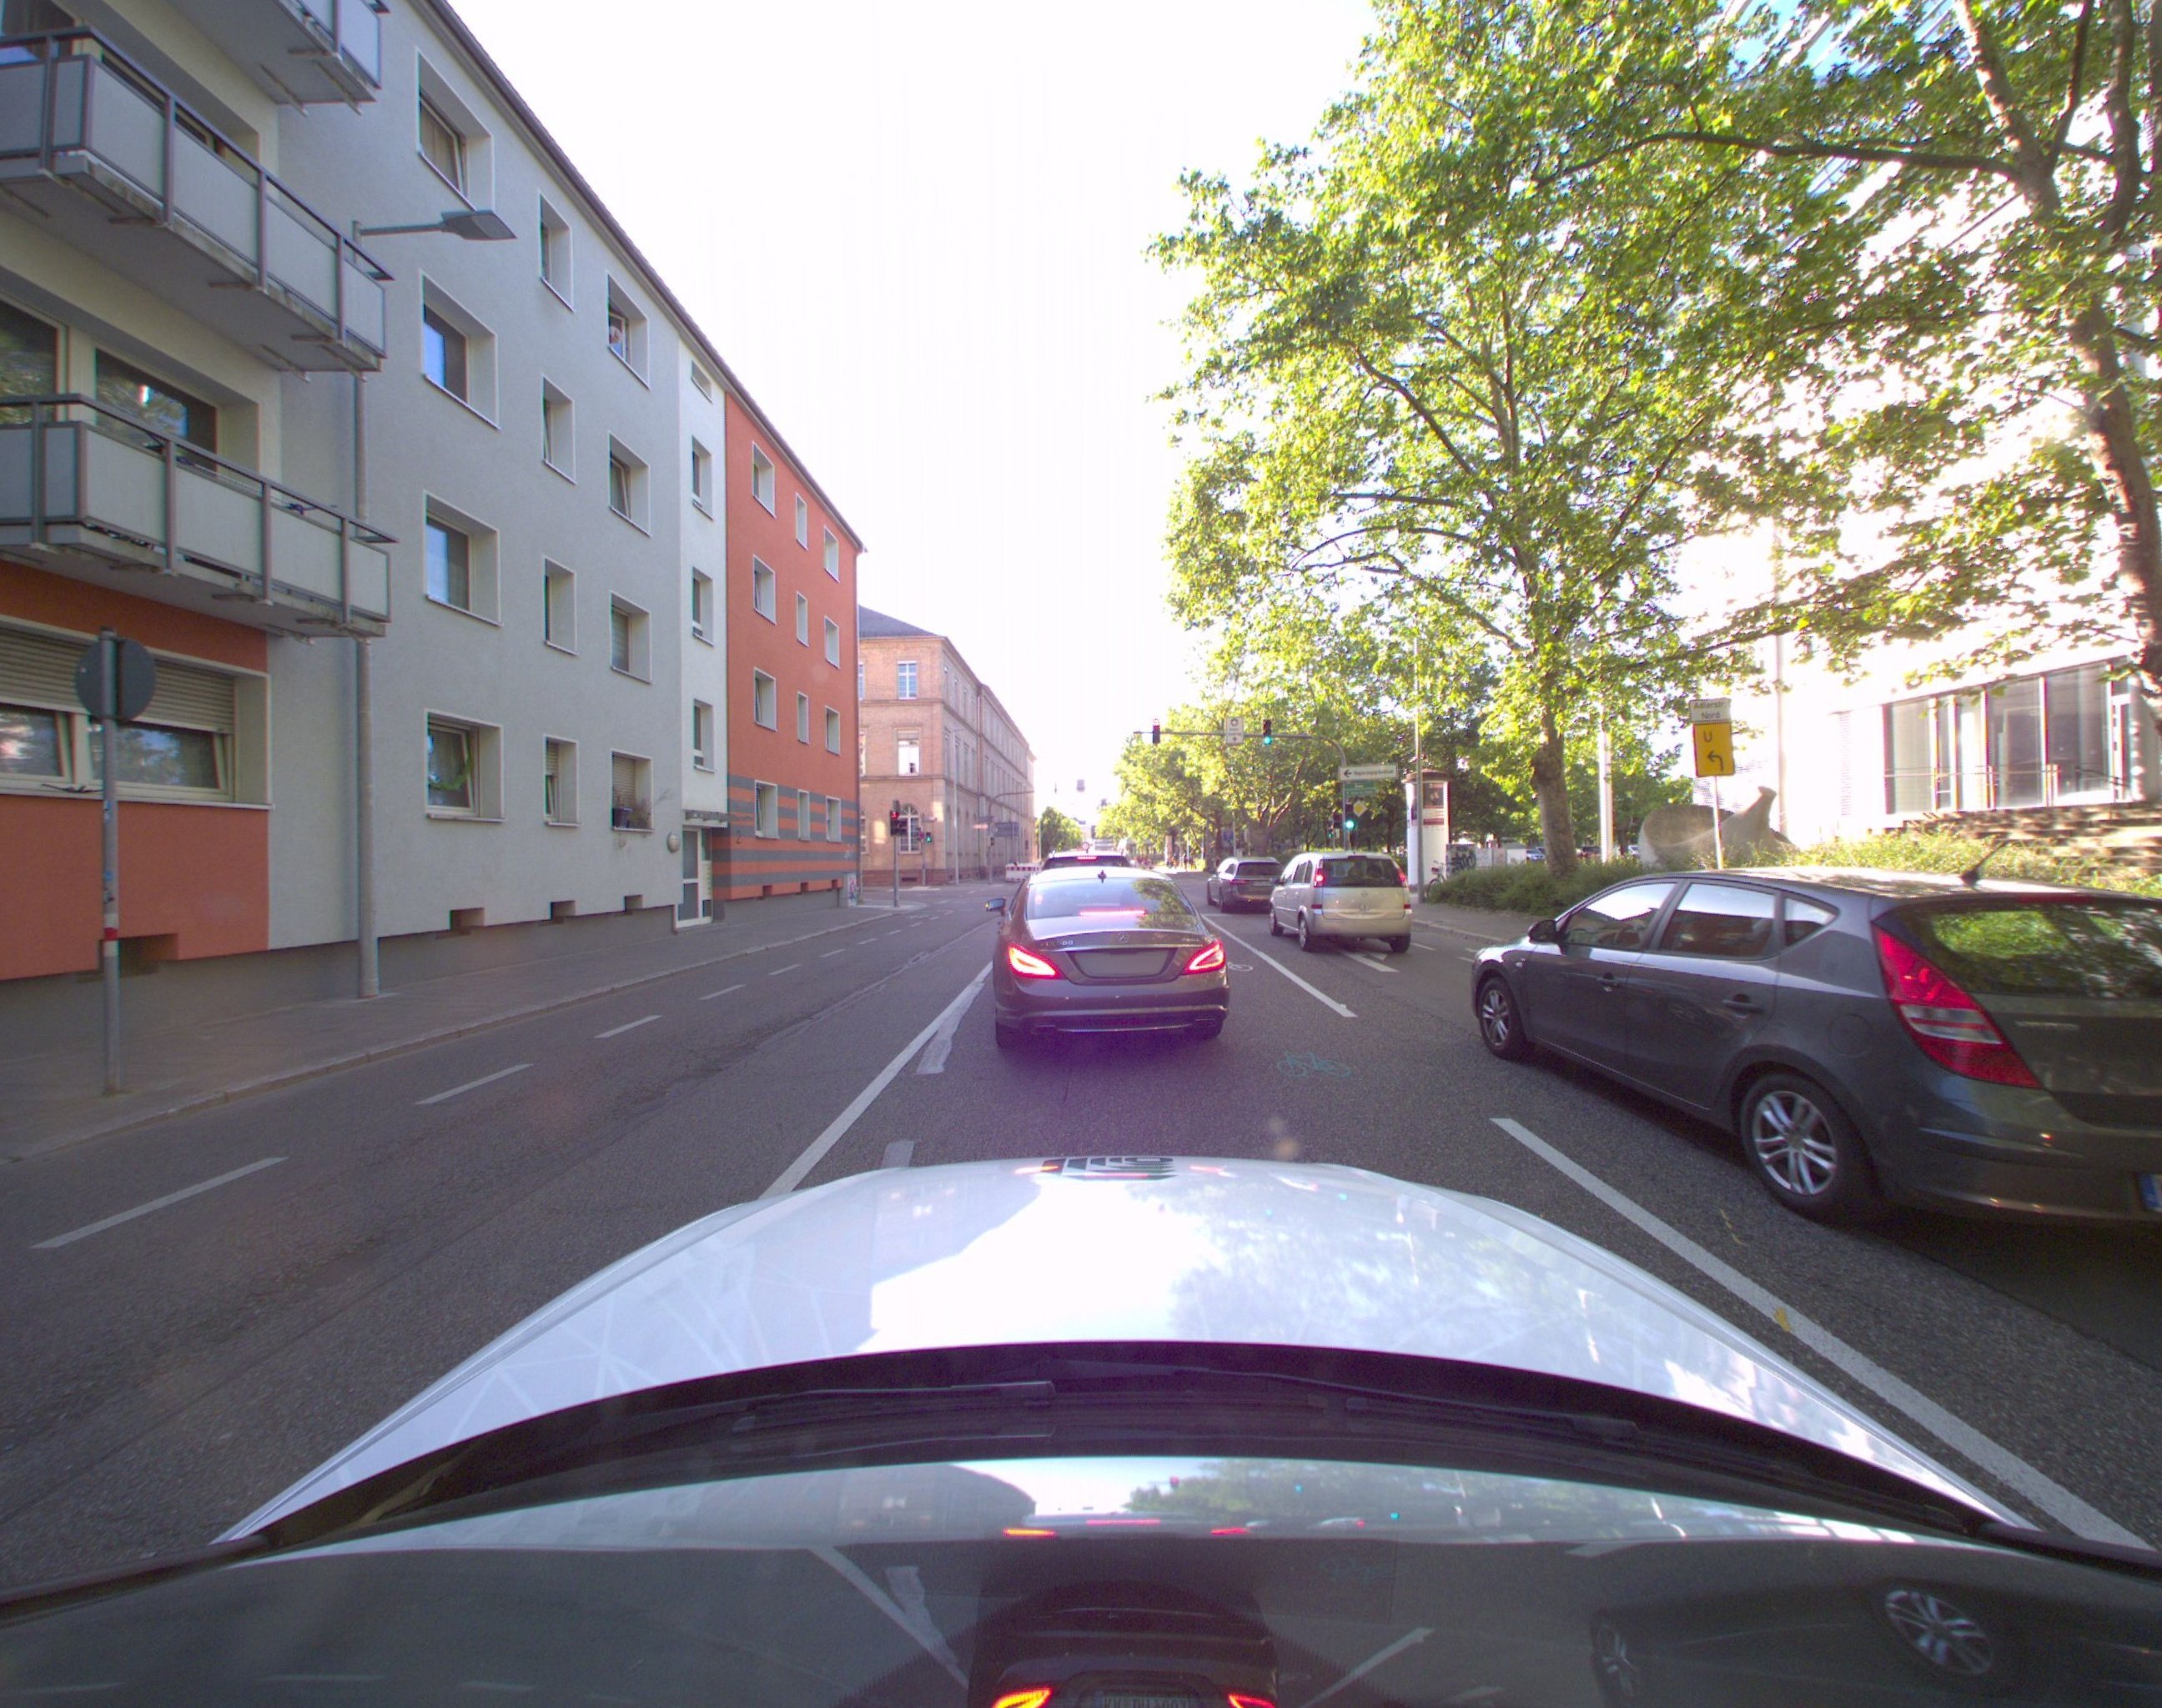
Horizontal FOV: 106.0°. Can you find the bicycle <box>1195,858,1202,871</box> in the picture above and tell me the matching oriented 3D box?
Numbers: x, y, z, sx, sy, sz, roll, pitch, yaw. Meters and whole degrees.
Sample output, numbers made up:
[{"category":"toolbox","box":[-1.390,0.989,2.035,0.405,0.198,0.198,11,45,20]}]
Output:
[{"category":"bicycle","box":[11.070,1.026,76.908,0.480,1.202,1.607,0,-1,2]}]

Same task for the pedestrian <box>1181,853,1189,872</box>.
[{"category":"pedestrian","box":[9.903,0.764,77.232,0.634,1.797,0.698,0,-1,-2]}]

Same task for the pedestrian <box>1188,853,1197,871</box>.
[{"category":"pedestrian","box":[10.559,0.763,77.122,0.634,1.760,0.698,0,-1,-2]}]

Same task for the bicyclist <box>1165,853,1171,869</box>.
[{"category":"bicyclist","box":[11.221,0.851,104.891,0.593,2.039,0.566,0,-1,-3]}]

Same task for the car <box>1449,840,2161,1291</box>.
[{"category":"car","box":[3.857,0.714,4.754,1.698,1.519,4.002,-1,0,2]}]

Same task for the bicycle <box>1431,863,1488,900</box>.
[{"category":"bicycle","box":[10.964,0.781,23.581,1.895,1.028,0.635,0,-1,-36]}]

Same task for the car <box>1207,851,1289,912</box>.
[{"category":"car","box":[4.527,0.715,22.498,1.595,1.549,3.682,0,-1,2]}]

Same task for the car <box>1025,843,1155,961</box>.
[{"category":"car","box":[0.191,0.697,13.726,1.854,1.682,4.002,-1,0,2]}]

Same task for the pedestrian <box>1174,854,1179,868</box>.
[{"category":"pedestrian","box":[10.457,0.796,89.192,0.554,1.509,0.345,0,-1,-3]}]

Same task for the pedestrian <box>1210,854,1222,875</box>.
[{"category":"pedestrian","box":[9.804,0.776,59.135,0.634,1.545,0.909,0,-1,-2]}]

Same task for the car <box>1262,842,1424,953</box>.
[{"category":"car","box":[4.383,0.673,14.177,1.725,1.662,3.682,0,-1,2]}]

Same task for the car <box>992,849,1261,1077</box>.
[{"category":"car","box":[0.144,0.738,7.591,1.859,1.519,3.992,-1,0,-6]}]
